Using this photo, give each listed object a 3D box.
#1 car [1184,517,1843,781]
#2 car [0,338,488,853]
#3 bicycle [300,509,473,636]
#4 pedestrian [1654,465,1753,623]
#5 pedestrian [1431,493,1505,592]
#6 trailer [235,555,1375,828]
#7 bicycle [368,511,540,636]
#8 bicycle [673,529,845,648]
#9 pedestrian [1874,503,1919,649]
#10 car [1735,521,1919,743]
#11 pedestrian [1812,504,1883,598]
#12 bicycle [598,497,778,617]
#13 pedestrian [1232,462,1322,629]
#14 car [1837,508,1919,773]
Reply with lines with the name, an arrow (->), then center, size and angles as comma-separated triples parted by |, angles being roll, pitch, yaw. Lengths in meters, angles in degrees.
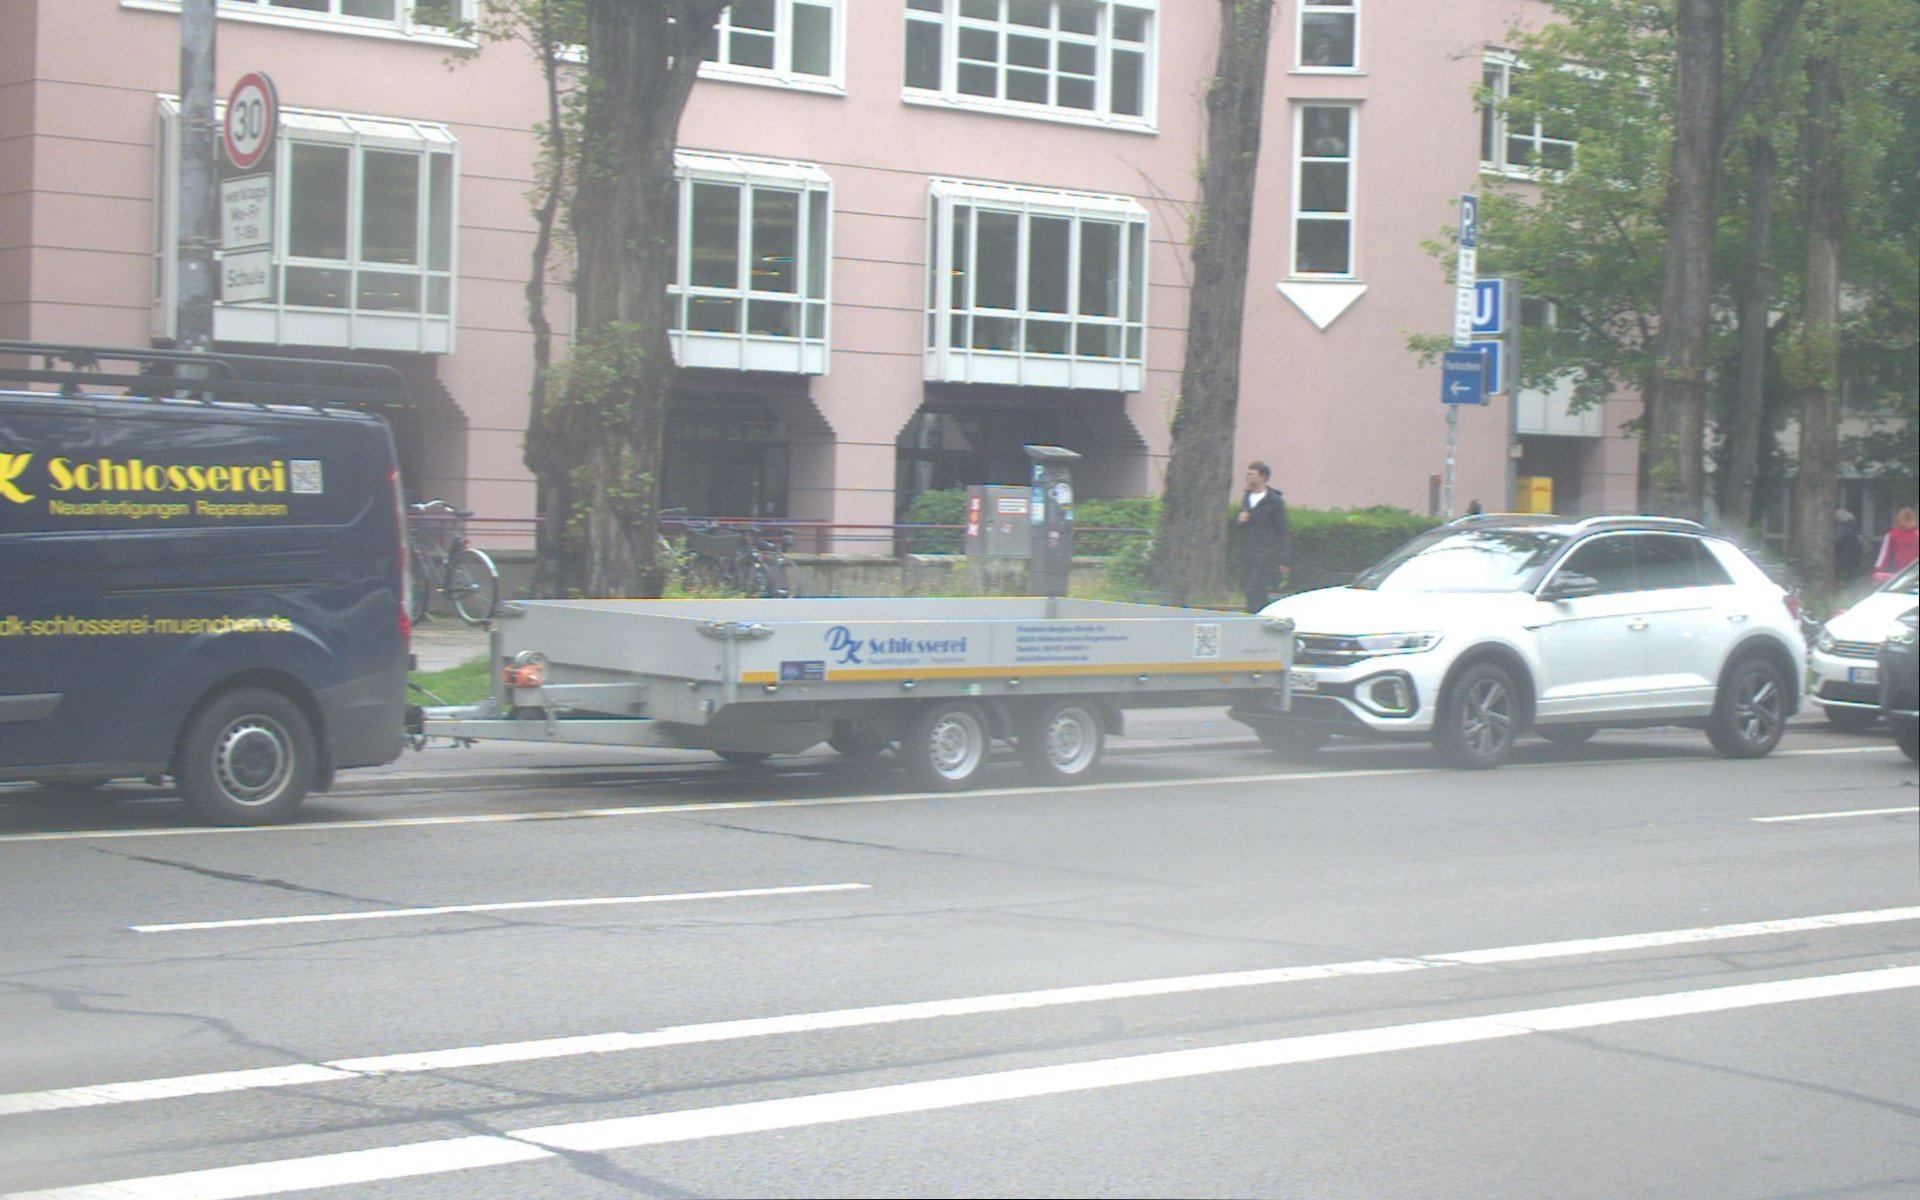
car -> 3.616, 0.256, 22.103 | 4.222, 1.536, 1.806 | 0, 1, -39
car -> -4.978, -0.060, 15.140 | 5.481, 2.189, 2.023 | 0, 2, -41
bicycle -> -5.420, -0.275, 32.422 | 0.674, 1.120, 1.988 | 0, 3, -40
pedestrian -> 8.154, -0.617, 37.719 | 0.729, 1.707, 0.709 | 0, 2, -40
pedestrian -> 8.664, -0.987, 58.655 | 0.894, 1.656, 0.817 | 0, 2, -40
trailer -> -0.691, 0.416, 18.938 | 6.020, 1.195, 2.404 | 0, 2, -40
bicycle -> -4.862, -0.267, 32.937 | 0.674, 1.120, 1.988 | 0, 3, -40
bicycle -> -2.063, -0.130, 35.112 | 0.674, 1.120, 1.988 | 0, 3, -40
pedestrian -> 11.434, -0.284, 40.936 | 0.729, 1.707, 0.709 | 0, 2, -40
car -> 8.025, 0.218, 26.248 | 4.313, 1.536, 1.999 | 0, 3, -43
pedestrian -> 15.967, -0.878, 61.838 | 0.894, 1.656, 0.817 | 0, 2, -40
bicycle -> -2.746, -0.442, 34.496 | 0.674, 1.120, 2.106 | 0, 3, -40
pedestrian -> 3.072, -0.530, 33.345 | 0.656, 1.599, 0.559 | 1, 2, -20
car -> 7.941, 0.249, 22.476 | 4.538, 1.637, 1.999 | 0, 2, -40
